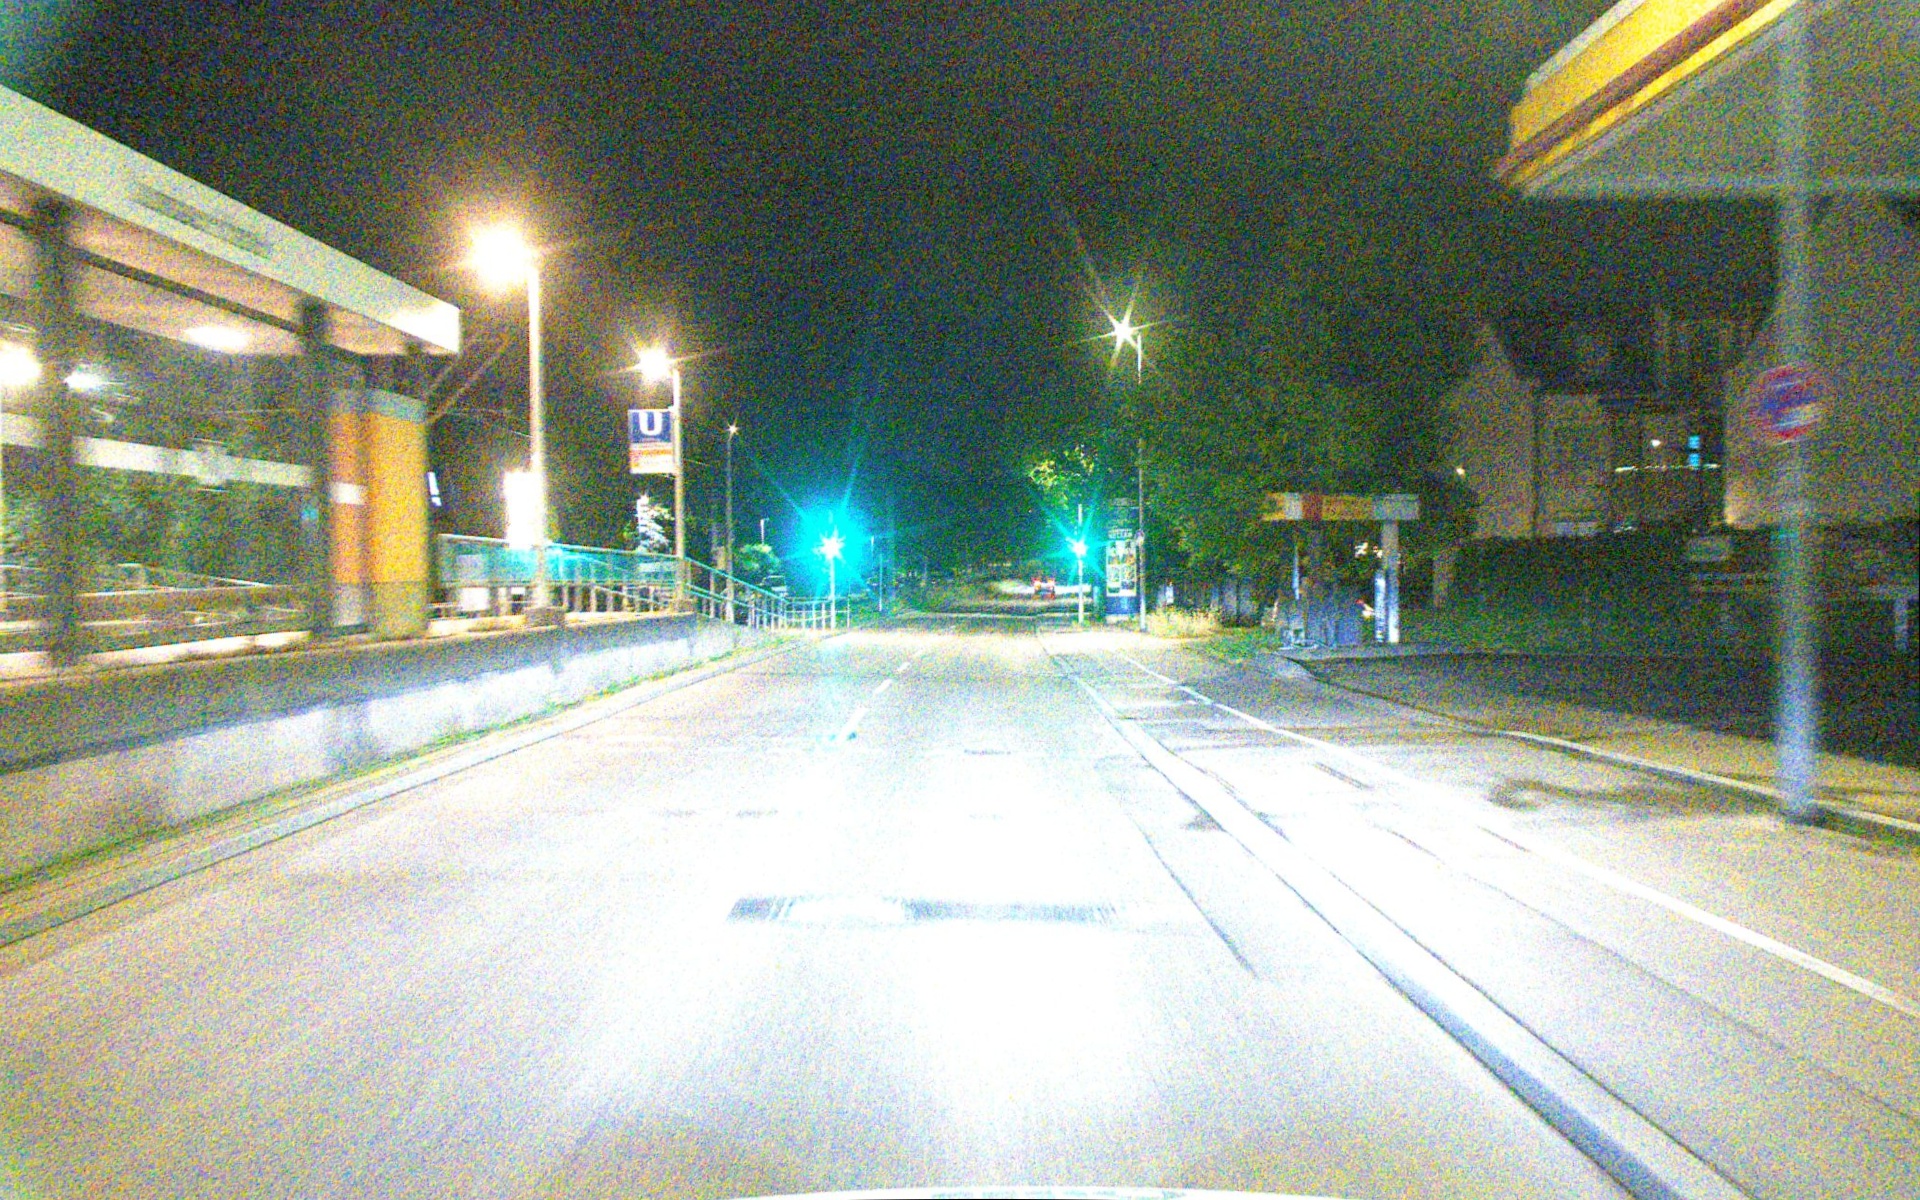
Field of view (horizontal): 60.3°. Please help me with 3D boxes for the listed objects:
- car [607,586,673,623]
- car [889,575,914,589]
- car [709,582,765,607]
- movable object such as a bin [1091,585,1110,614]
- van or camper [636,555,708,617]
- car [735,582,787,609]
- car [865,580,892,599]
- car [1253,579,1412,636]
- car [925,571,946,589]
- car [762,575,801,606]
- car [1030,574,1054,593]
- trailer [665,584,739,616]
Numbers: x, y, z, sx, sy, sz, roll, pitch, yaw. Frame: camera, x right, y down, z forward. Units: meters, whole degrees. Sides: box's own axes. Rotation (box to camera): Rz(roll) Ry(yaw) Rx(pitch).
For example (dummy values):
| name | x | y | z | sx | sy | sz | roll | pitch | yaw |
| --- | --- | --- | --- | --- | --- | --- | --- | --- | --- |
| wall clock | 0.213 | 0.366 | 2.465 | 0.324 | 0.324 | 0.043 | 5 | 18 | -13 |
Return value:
| name | x | y | z | sx | sy | sz | roll | pitch | yaw |
| --- | --- | --- | --- | --- | --- | --- | --- | --- | --- |
| car | -13.728 | 0.163 | 71.161 | 1.611 | 1.362 | 4.545 | -5 | 1 | 4 |
| car | -6.074 | -1.894 | 172.316 | 1.951 | 1.361 | 5.435 | 0 | 1 | 4 |
| car | -12.536 | -0.311 | 93.053 | 2.966 | 1.349 | 1.534 | 0 | 0 | -1 |
| movable object such as a bin | 6.087 | -0.014 | 71.712 | 0.708 | 1.221 | 0.720 | 0 | 1 | 11 |
| van or camper | -13.432 | -0.693 | 77.582 | 2.226 | 2.693 | 5.664 | -3 | 1 | 0 |
| car | -11.808 | -0.265 | 98.524 | 1.861 | 1.549 | 5.175 | 0 | 1 | 7 |
| car | -7.464 | -0.961 | 152.460 | 1.951 | 1.656 | 4.680 | 0 | 1 | 4 |
| car | 9.503 | 0.174 | 42.426 | 3.686 | 1.378 | 1.859 | -1 | 1 | 2 |
| car | -2.957 | -2.436 | 202.850 | 2.048 | 2.048 | 4.003 | -5 | 1 | 4 |
| car | -11.258 | -0.625 | 104.583 | 1.818 | 1.937 | 4.881 | 0 | 1 | 2 |
| car | 7.374 | -1.490 | 149.153 | 2.117 | 1.610 | 4.014 | 0 | 0 | 1 |
| trailer | -13.119 | -0.023 | 84.450 | 2.368 | 1.398 | 4.659 | -4 | 0 | 9 |
